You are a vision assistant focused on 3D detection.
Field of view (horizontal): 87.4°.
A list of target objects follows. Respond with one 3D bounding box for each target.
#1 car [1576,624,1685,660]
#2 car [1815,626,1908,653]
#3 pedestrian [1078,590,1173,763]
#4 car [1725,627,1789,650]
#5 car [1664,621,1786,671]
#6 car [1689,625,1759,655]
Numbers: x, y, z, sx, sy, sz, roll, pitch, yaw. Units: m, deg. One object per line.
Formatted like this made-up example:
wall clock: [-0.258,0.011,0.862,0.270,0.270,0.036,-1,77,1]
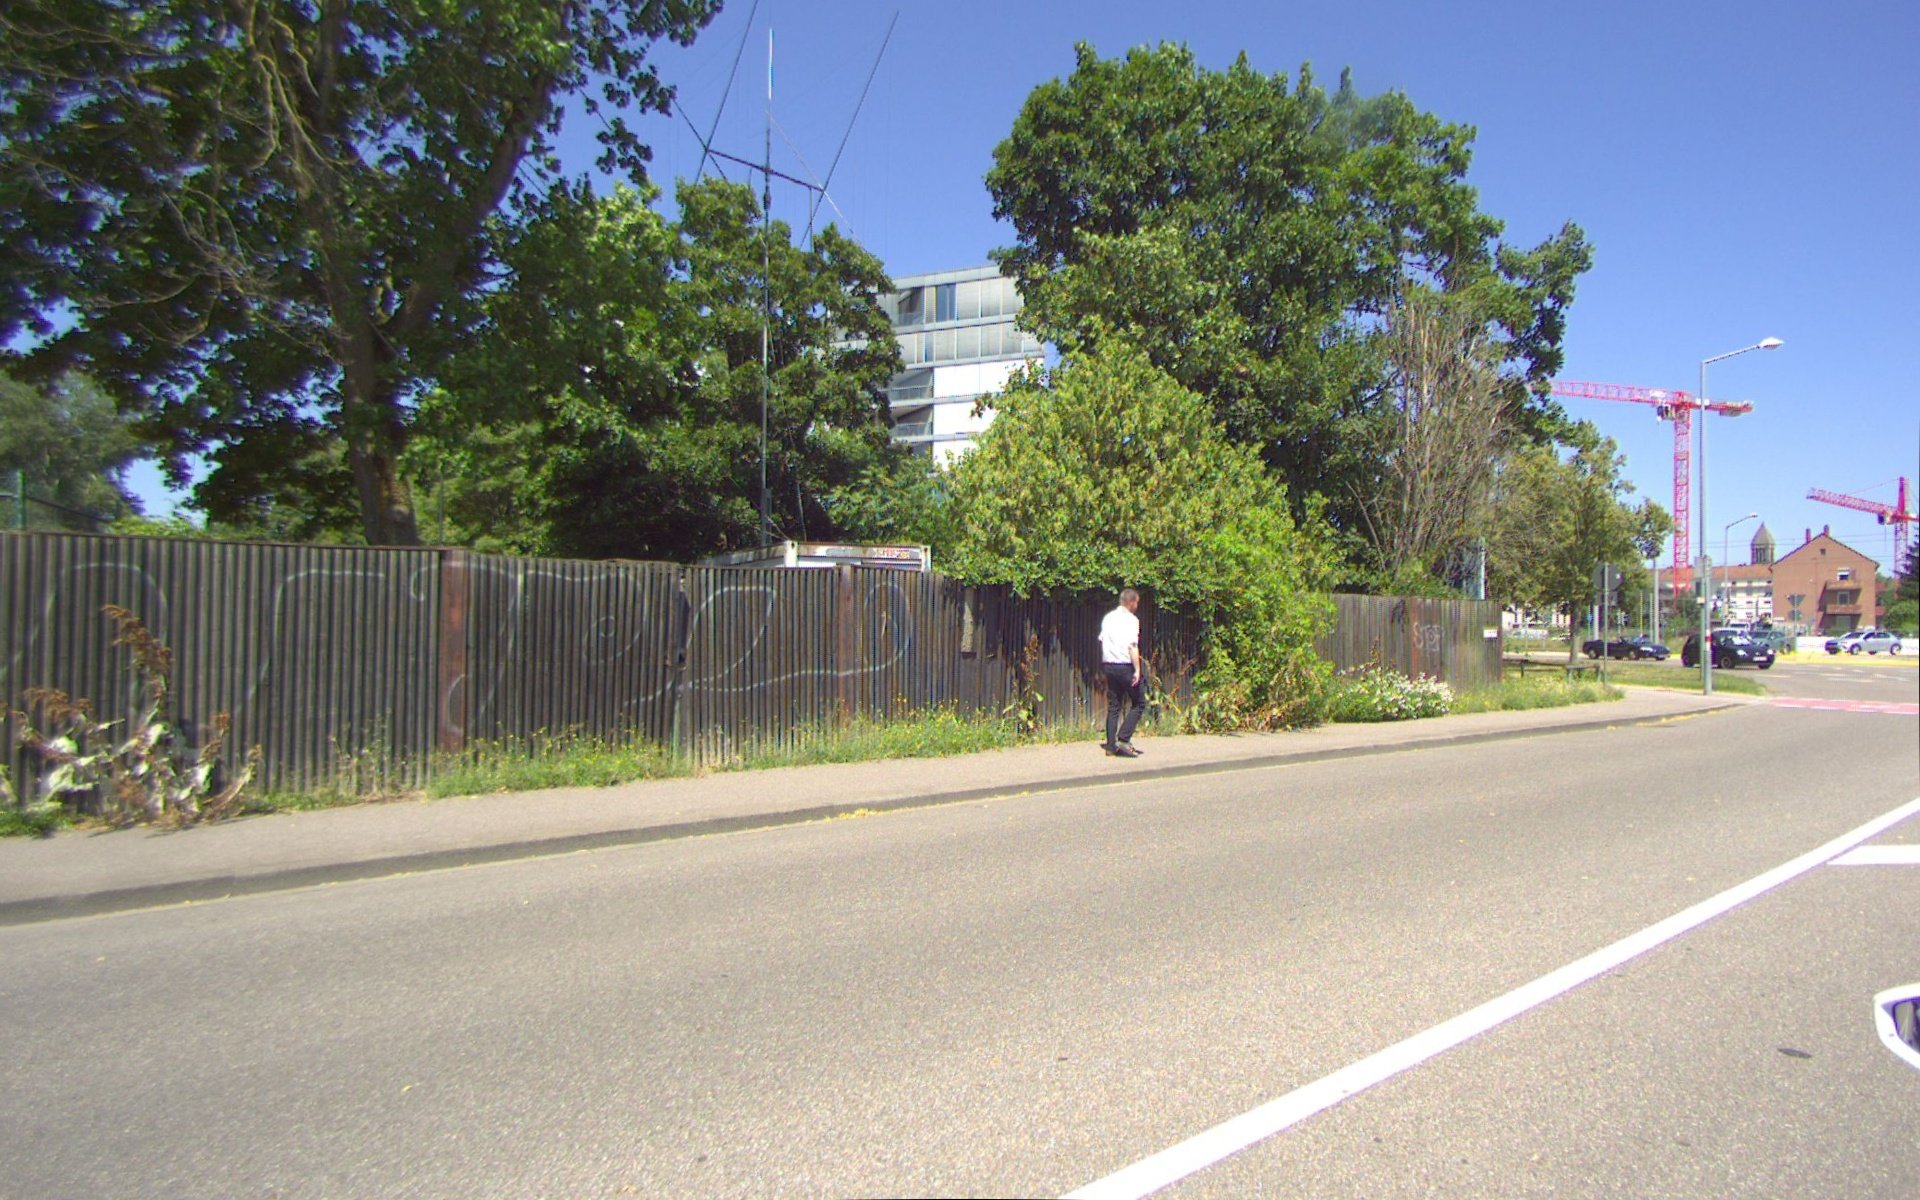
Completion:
car: [35.439,2.182,53.284,1.964,1.678,4.946,1,-1,-9]
car: [55.602,2.442,62.006,4.136,1.520,1.713,1,-1,3]
pedestrian: [1.843,0.829,11.187,0.841,1.849,0.589,1,0,-30]
car: [46.684,2.254,58.821,3.742,1.253,1.699,2,-1,-30]
car: [31.287,1.839,41.229,1.961,1.840,4.000,1,-1,0]
car: [42.304,2.232,55.612,3.953,1.570,1.748,2,-1,-30]
